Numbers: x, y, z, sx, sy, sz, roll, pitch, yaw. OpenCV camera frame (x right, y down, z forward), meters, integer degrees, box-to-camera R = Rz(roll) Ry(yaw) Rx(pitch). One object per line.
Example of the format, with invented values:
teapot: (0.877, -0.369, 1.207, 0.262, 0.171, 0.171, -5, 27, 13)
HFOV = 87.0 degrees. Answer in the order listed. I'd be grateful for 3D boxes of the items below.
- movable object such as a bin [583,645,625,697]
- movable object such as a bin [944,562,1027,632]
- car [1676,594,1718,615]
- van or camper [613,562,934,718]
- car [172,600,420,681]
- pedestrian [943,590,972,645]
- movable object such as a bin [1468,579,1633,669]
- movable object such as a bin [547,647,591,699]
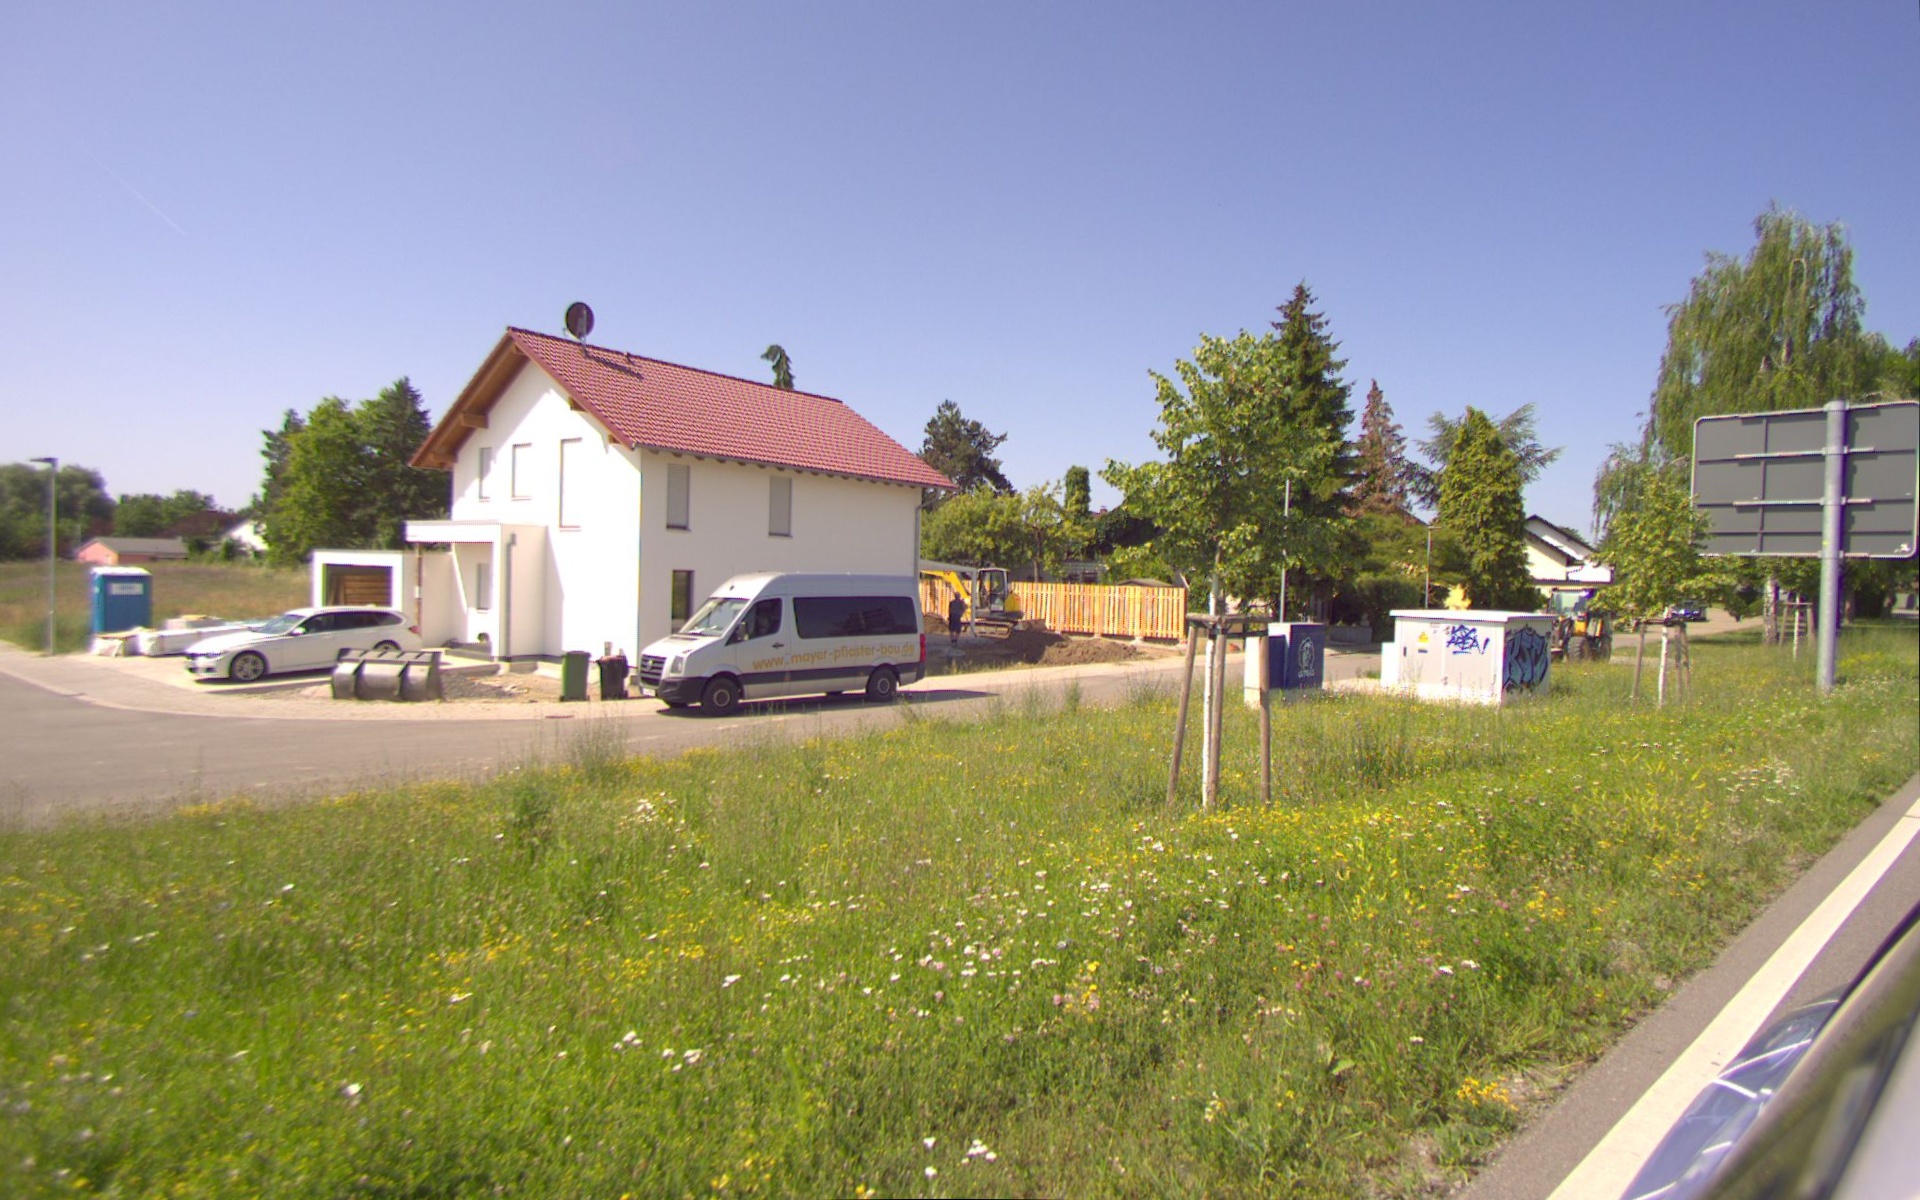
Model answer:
movable object such as a bin: (-7.120, 1.407, 20.237, 0.626, 0.949, 0.694, 1, 1, -36)
movable object such as a bin: (1.004, -0.133, 39.044, 2.838, 2.589, 1.778, 1, 0, 16)
car: (53.665, 0.296, 73.690, 4.100, 1.463, 1.859, -1, 0, -45)
van or camper: (-3.481, 0.624, 19.840, 5.925, 2.633, 2.176, -1, 1, -41)
car: (-14.721, 0.822, 22.694, 1.553, 1.577, 4.432, 0, 0, 34)
pedestrian: (-0.076, 0.547, 32.659, 0.701, 1.684, 0.717, 2, 4, -12)
movable object such as a bin: (18.215, 0.604, 31.019, 6.825, 2.494, 2.320, -1, 1, -41)
movable object such as a bin: (-7.664, 1.415, 19.829, 0.626, 0.949, 0.694, 1, 1, -36)
